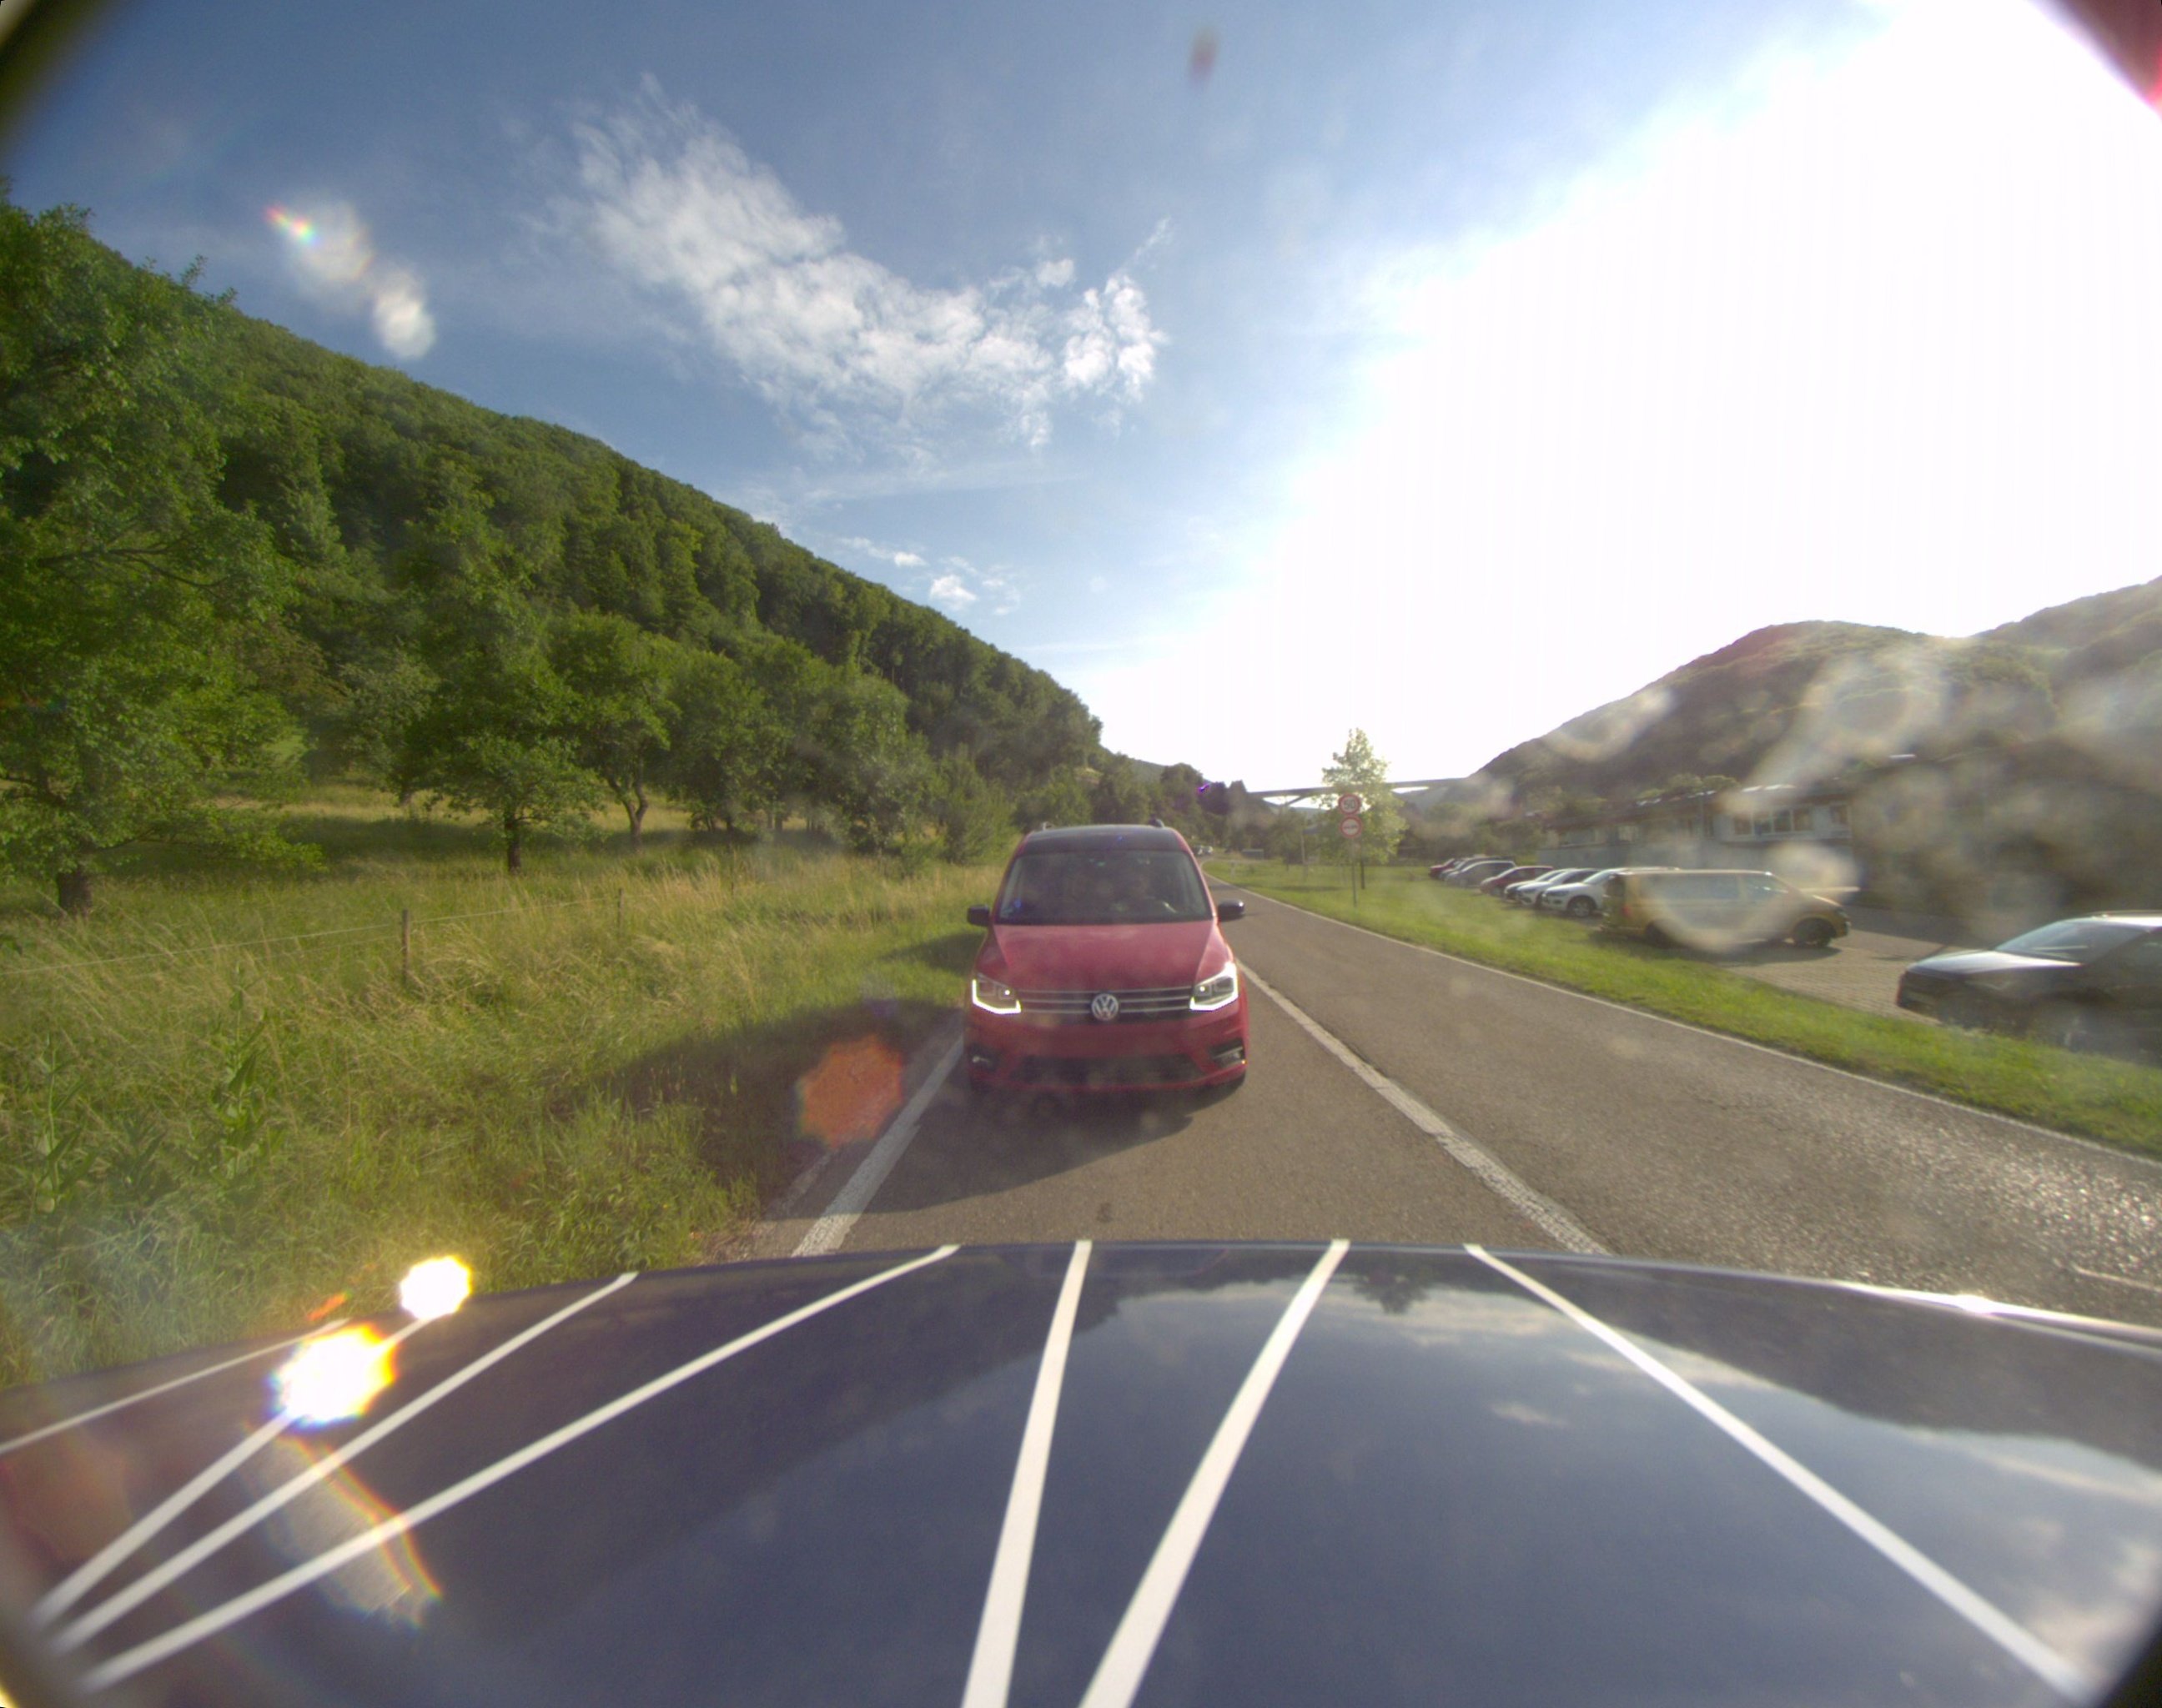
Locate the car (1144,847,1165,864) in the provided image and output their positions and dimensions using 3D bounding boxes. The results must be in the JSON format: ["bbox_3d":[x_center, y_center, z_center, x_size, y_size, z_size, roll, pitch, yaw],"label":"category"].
[{"bbox_3d":[7.353,0.153,75.692,1.911,1.675,4.003,-2,-1,8],"label":"car"}]

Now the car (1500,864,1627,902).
[{"bbox_3d":[21.414,1.266,33.923,4.437,1.573,2.003,-1,0,18],"label":"car"}]

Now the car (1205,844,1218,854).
[{"bbox_3d":[24.756,-0.858,144.553,1.996,1.706,4.005,-3,-1,15],"label":"car"}]

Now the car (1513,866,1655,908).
[{"bbox_3d":[20.205,1.319,30.768,4.437,1.577,2.003,-1,0,20],"label":"car"}]

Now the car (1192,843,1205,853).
[{"bbox_3d":[20.215,-0.988,130.712,1.677,1.637,3.350,-2,0,15],"label":"car"}]

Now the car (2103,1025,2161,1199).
[{"bbox_3d":[12.098,2.407,5.984,4.645,1.488,1.915,-1,0,15],"label":"car"}]

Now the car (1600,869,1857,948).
[{"bbox_3d":[16.421,1.336,19.612,4.653,1.802,2.003,-1,0,20],"label":"car"}]

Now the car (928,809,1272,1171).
[{"bbox_3d":[0.129,0.732,6.166,1.747,1.849,4.348,-2,0,1],"label":"car"}]

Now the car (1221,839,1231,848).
[{"bbox_3d":[32.838,-2.356,172.064,1.909,1.893,4.004,-2,1,17],"label":"car"}]

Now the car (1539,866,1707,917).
[{"bbox_3d":[19.330,1.322,27.370,4.545,1.691,2.003,-1,0,20],"label":"car"}]

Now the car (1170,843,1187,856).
[{"bbox_3d":[13.404,-0.596,104.411,1.797,1.725,4.288,-2,0,13],"label":"car"}]

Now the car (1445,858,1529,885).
[{"bbox_3d":[25.810,1.108,48.445,4.437,1.573,2.003,-2,0,18],"label":"car"}]

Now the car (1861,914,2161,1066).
[{"bbox_3d":[13.532,1.703,9.898,4.289,1.628,1.915,-3,0,15],"label":"car"}]

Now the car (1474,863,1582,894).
[{"bbox_3d":[22.708,1.243,38.798,4.437,1.443,2.003,-1,0,20],"label":"car"}]

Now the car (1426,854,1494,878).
[{"bbox_3d":[28.897,0.930,58.080,4.437,1.709,2.003,-1,0,18],"label":"car"}]

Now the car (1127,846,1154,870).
[{"bbox_3d":[4.722,0.314,60.150,1.998,1.838,4.002,-2,0,5],"label":"car"}]

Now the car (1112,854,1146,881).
[{"bbox_3d":[2.833,0.798,45.563,1.798,1.464,4.283,-2,0,1],"label":"car"}]

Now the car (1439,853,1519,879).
[{"bbox_3d":[27.607,0.841,52.906,4.665,1.752,2.003,-1,0,18],"label":"car"}]
